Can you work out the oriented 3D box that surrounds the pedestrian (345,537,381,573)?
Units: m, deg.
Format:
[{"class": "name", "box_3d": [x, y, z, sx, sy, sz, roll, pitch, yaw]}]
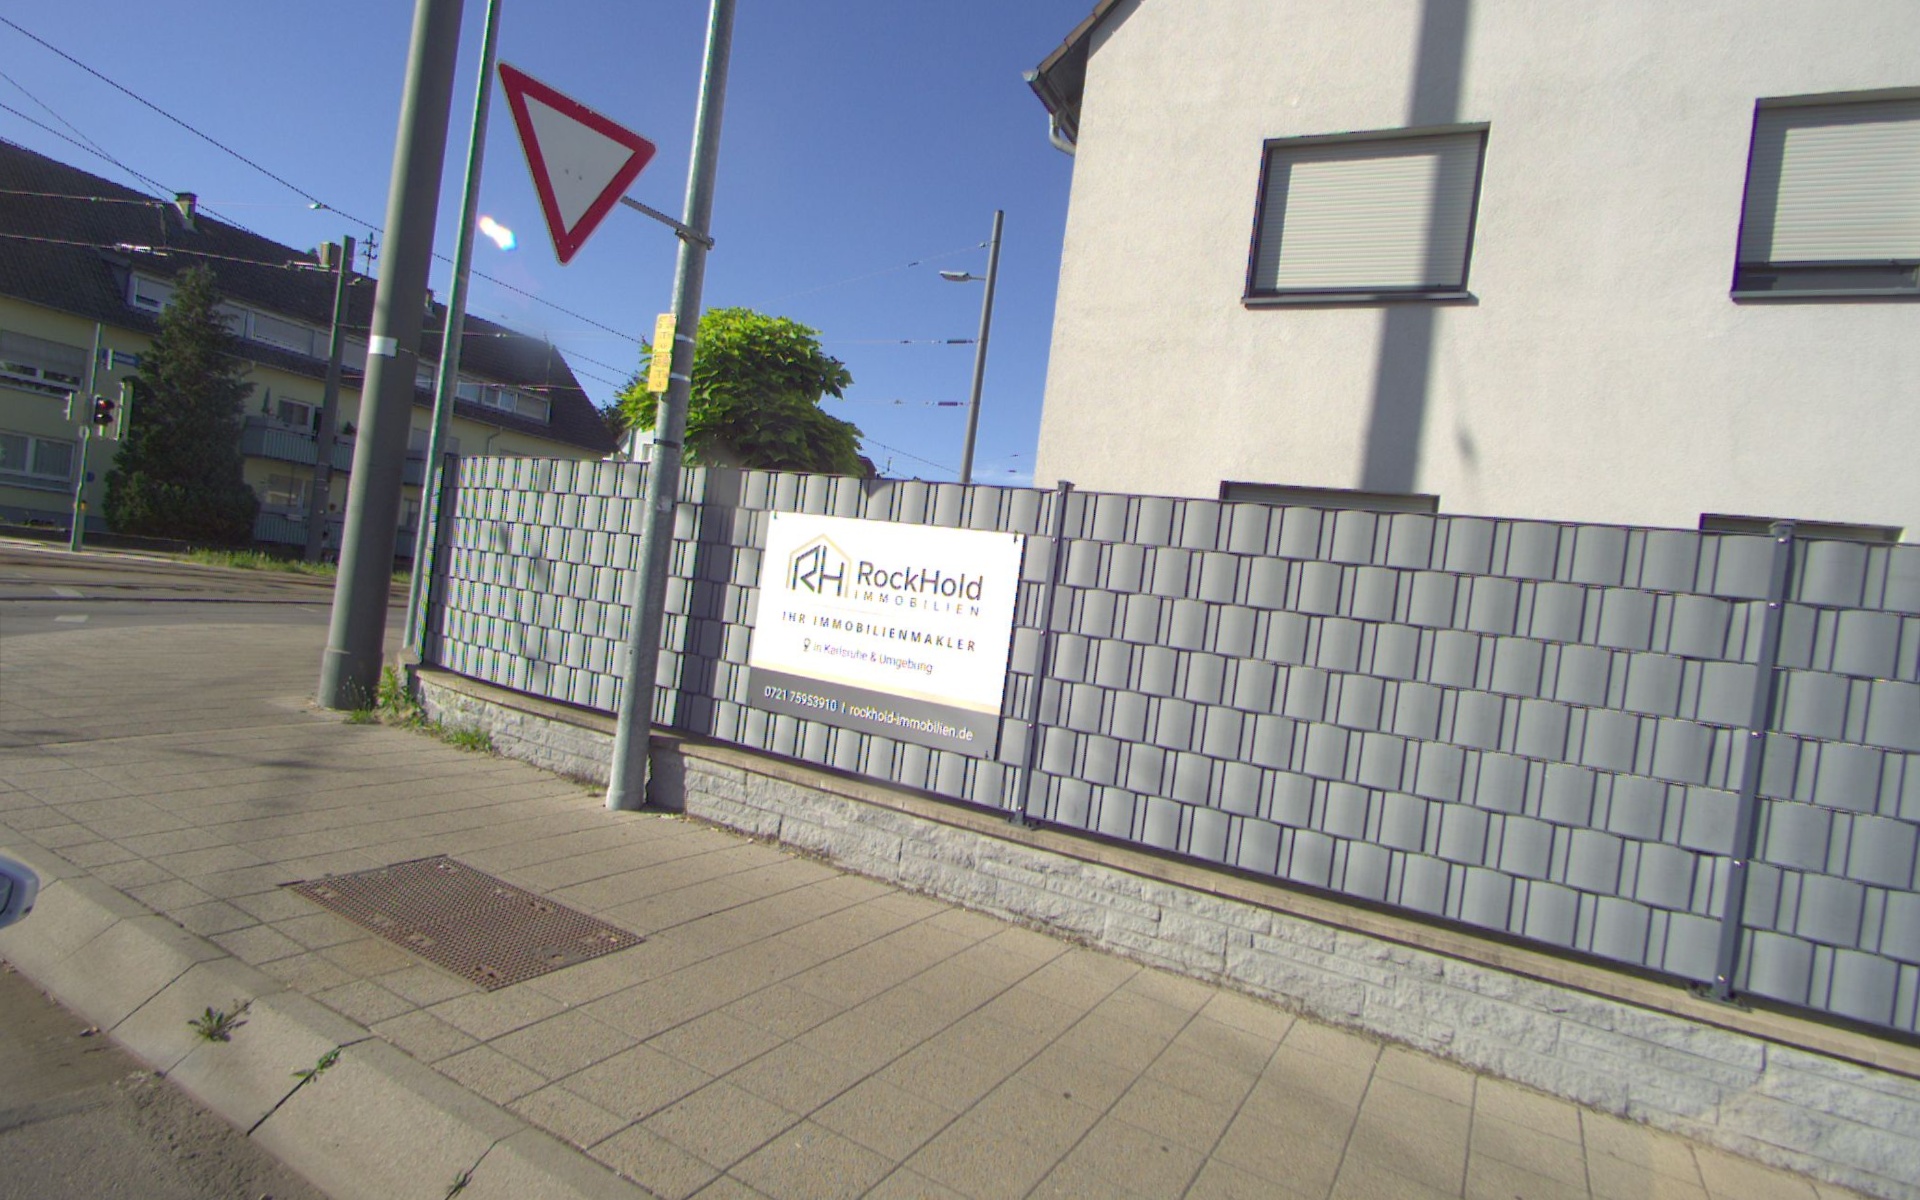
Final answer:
[{"class": "pedestrian", "box_3d": [-19.515, -1.472, 32.893, 0.711, 1.017, 0.595, 8, -1, 3]}]

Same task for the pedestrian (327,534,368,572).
[{"class": "pedestrian", "box_3d": [-19.651, -1.504, 32.280, 0.806, 1.077, 0.626, 8, -1, -6]}]

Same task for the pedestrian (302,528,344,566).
[{"class": "pedestrian", "box_3d": [-19.916, -1.653, 31.461, 0.805, 1.059, 0.688, 8, 0, 24]}]
